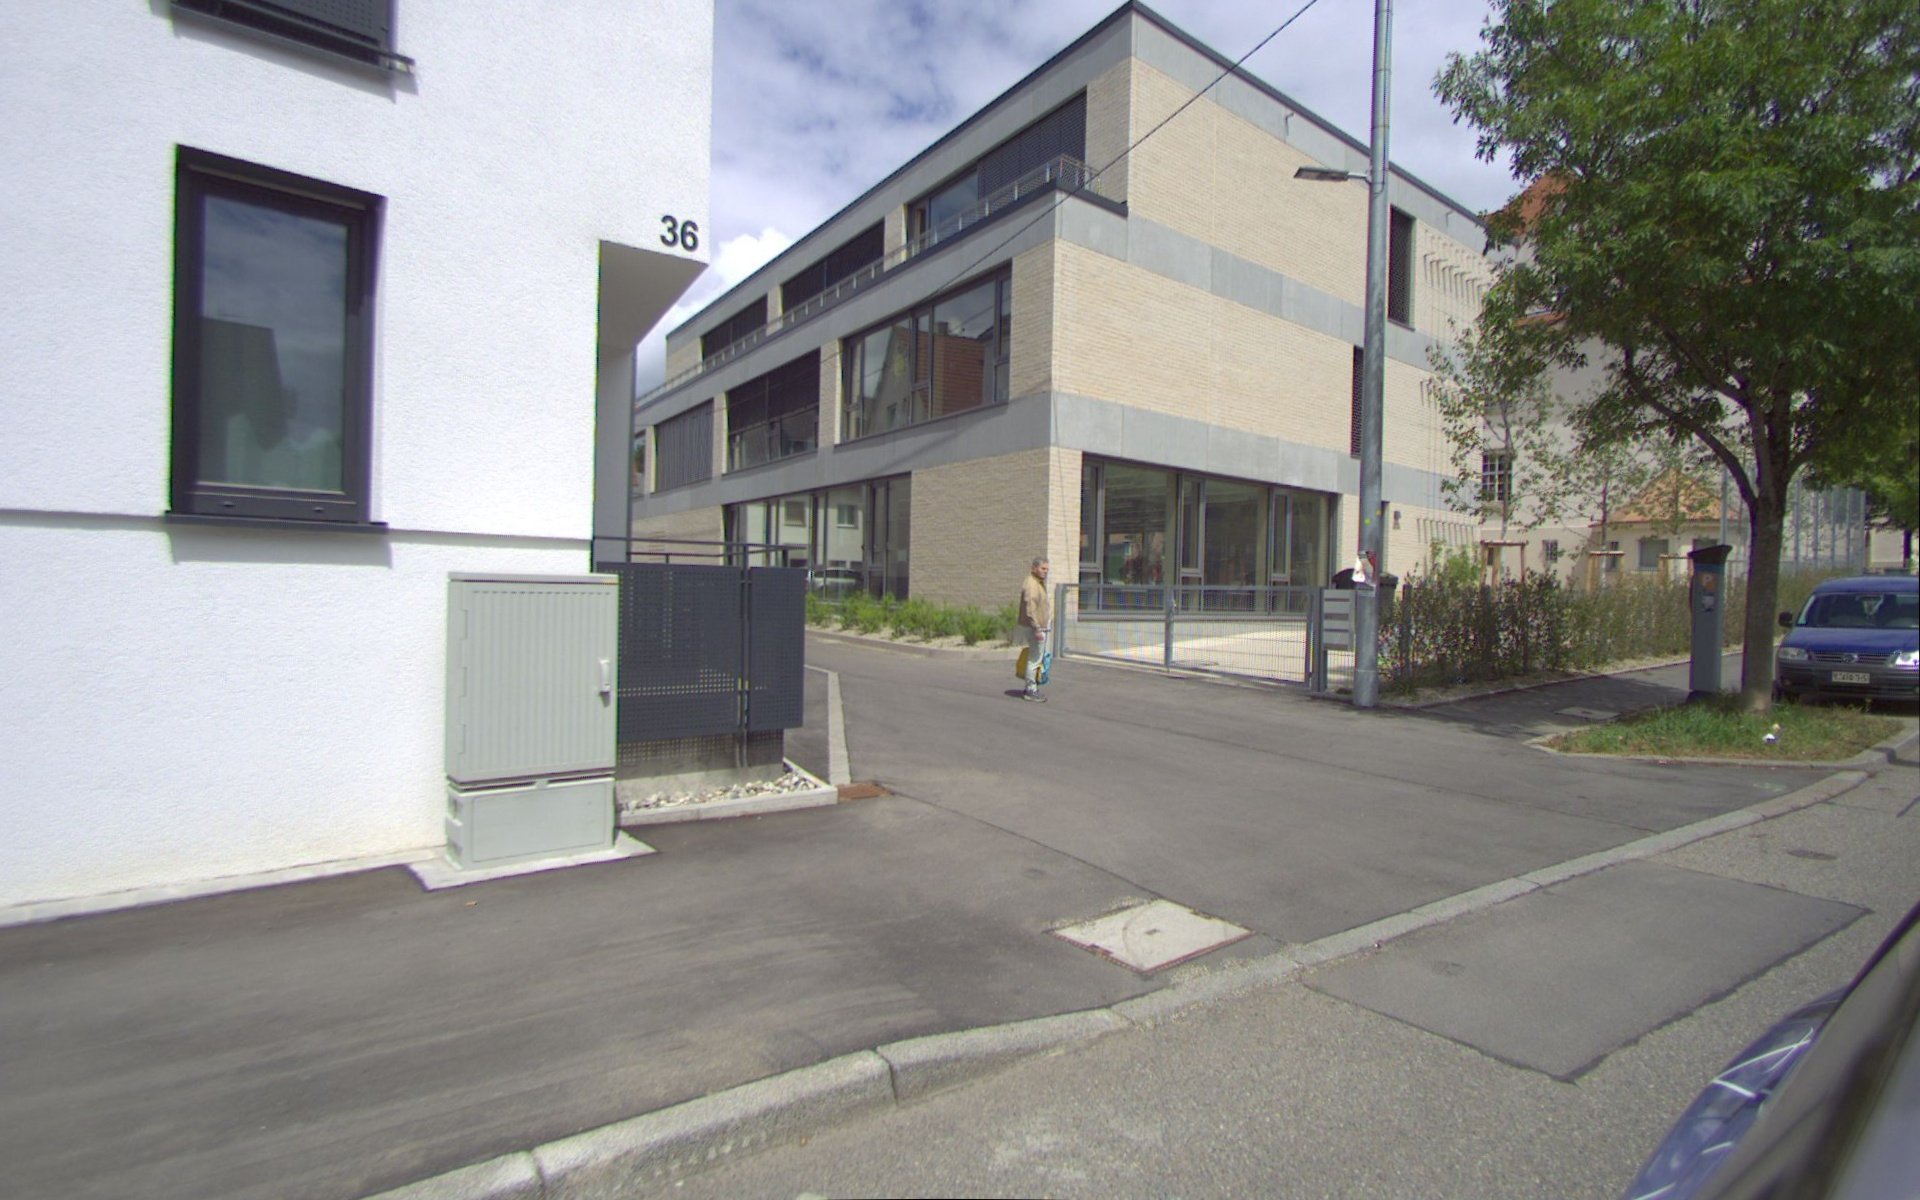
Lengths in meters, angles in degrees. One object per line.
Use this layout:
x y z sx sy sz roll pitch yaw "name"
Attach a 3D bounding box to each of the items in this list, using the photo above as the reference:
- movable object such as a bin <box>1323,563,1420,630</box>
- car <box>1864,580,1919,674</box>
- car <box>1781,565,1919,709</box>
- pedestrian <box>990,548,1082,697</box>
9.374 -0.094 23.041 1.774 1.465 1.351 0 1 -39 "movable object such as a bin"
17.319 0.440 17.766 3.605 1.538 1.676 0 1 -40 "car"
13.017 0.411 14.131 4.086 1.765 1.698 -1 2 -40 "car"
0.924 0.257 12.267 0.815 1.725 0.774 0 0 -42 "pedestrian"
